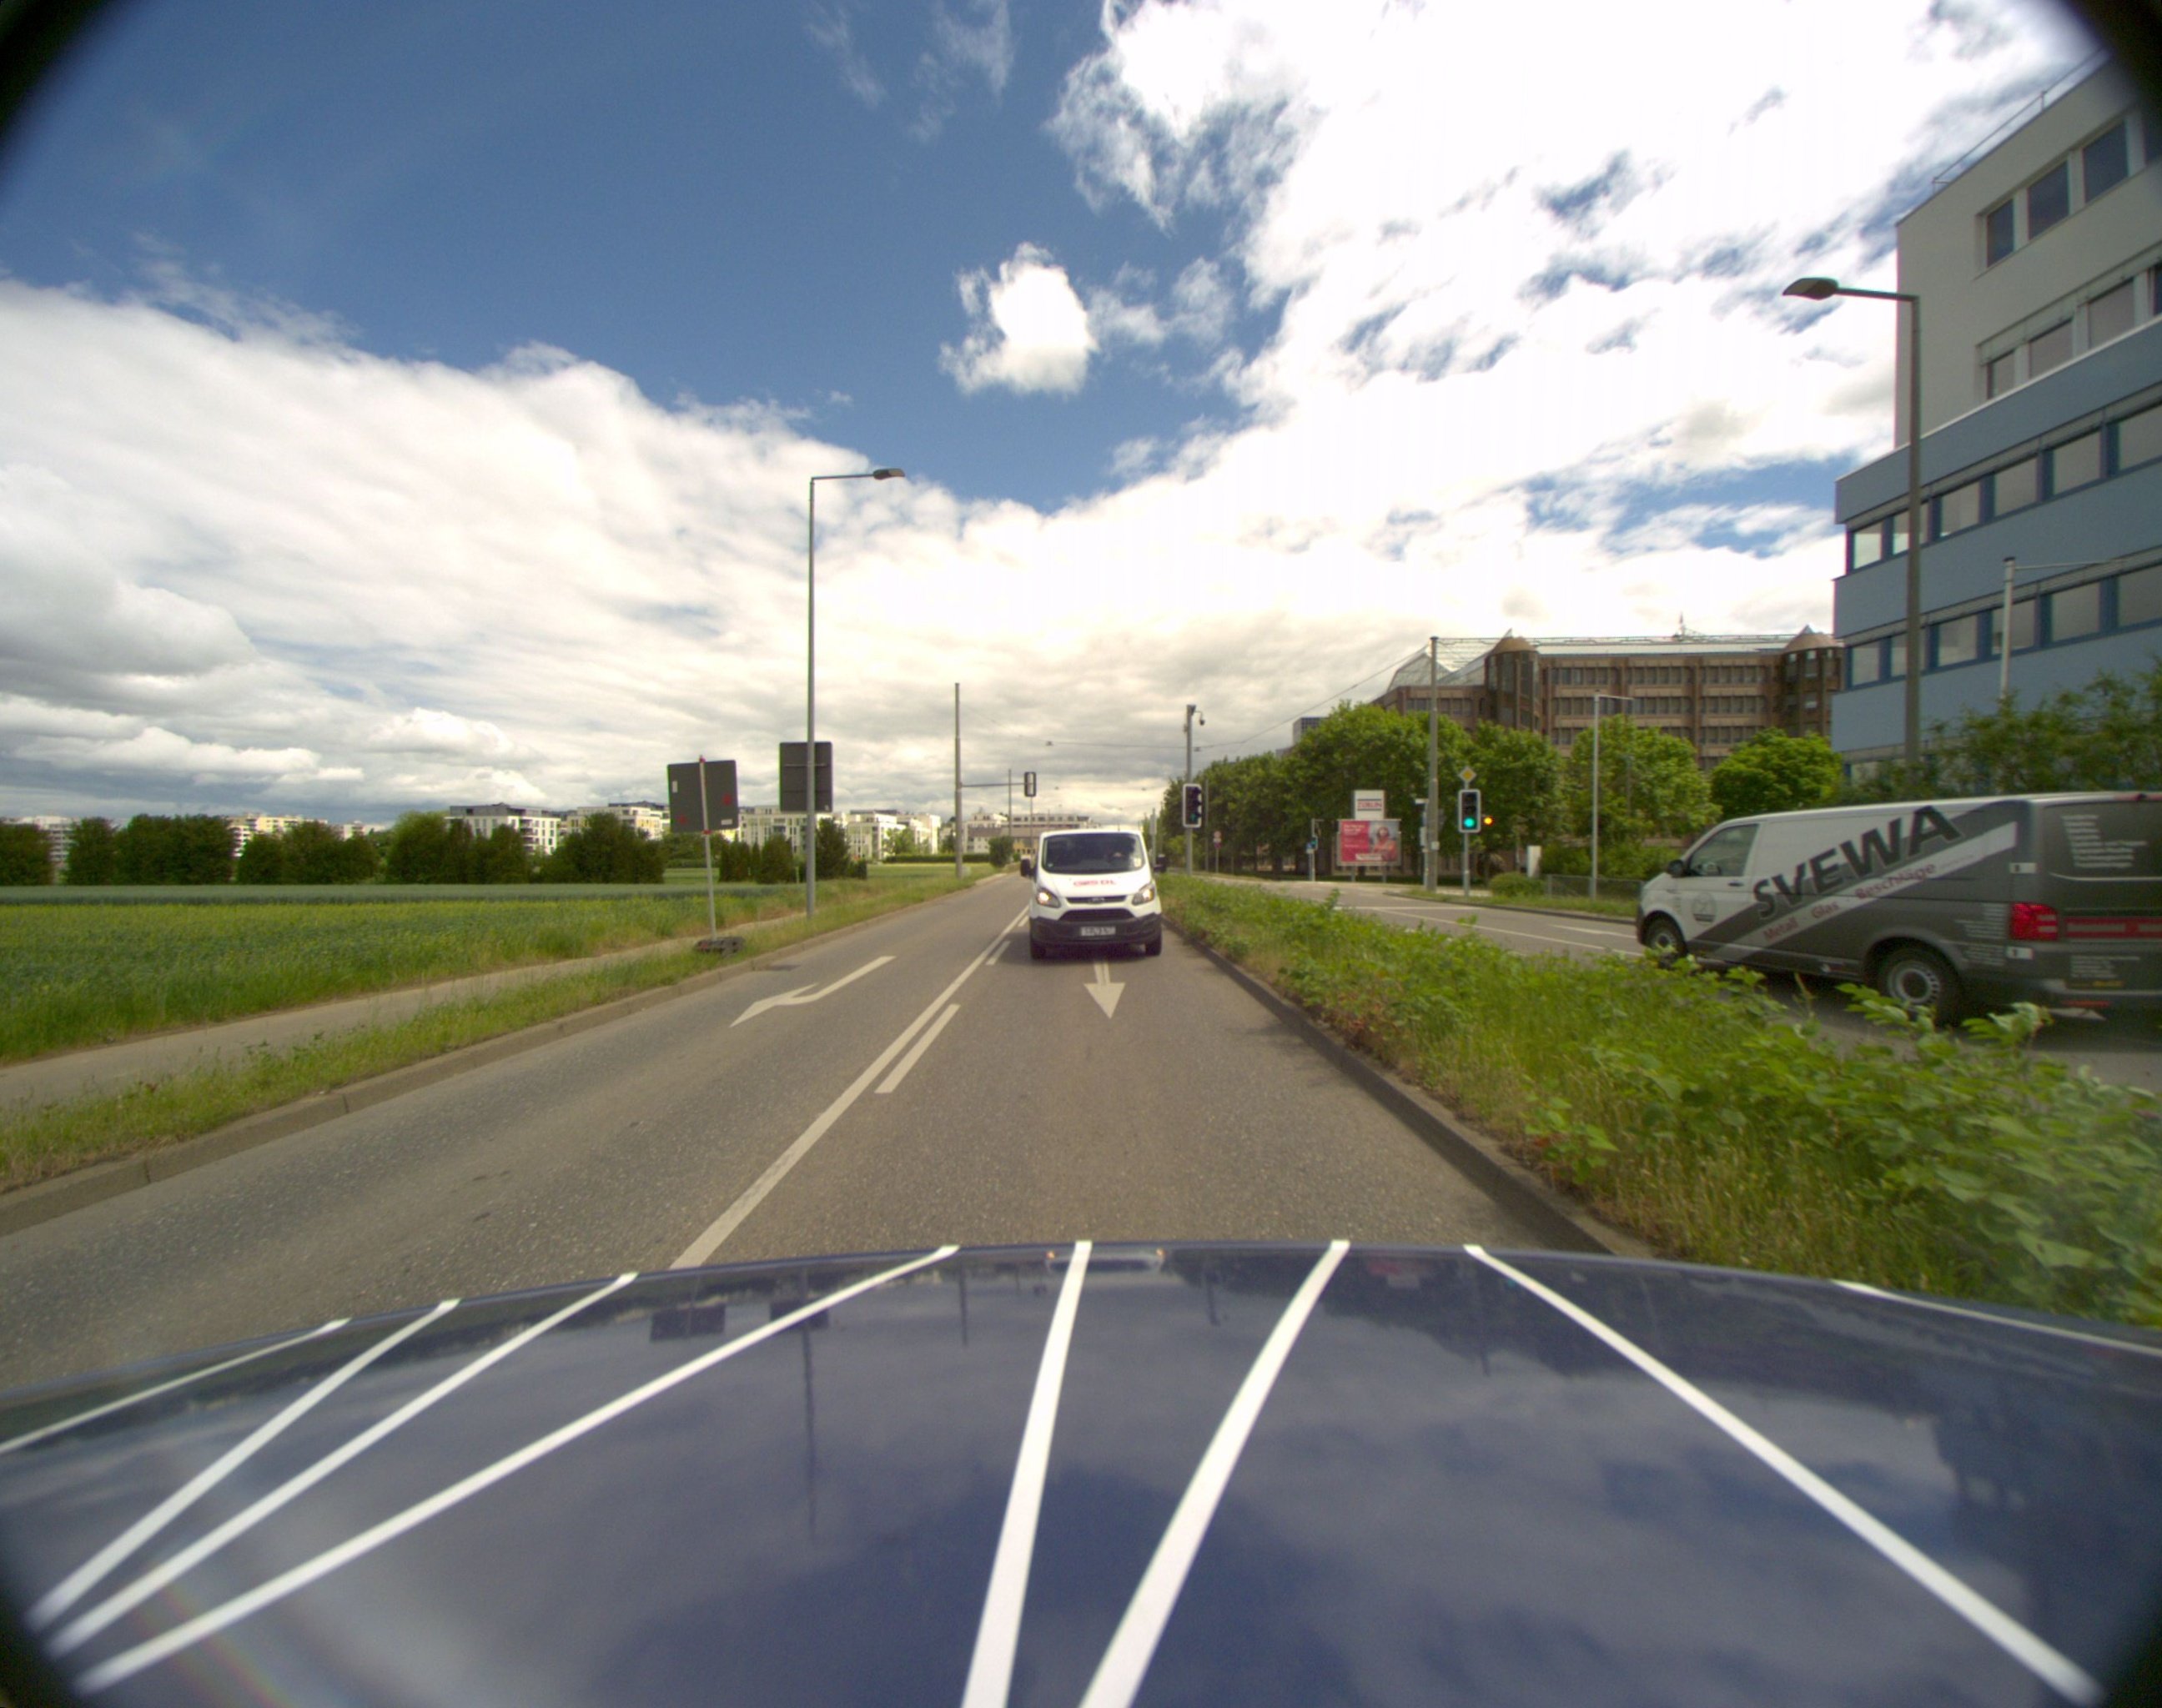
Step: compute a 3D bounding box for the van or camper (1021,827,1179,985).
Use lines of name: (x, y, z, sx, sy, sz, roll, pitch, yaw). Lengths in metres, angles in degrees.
van or camper: (0.177, 0.658, 12.544, 1.999, 2.002, 5.798, 0, 0, -1)

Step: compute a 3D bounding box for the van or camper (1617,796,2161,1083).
van or camper: (7.952, 0.579, 7.674, 1.998, 2.002, 4.817, -1, 0, 5)
